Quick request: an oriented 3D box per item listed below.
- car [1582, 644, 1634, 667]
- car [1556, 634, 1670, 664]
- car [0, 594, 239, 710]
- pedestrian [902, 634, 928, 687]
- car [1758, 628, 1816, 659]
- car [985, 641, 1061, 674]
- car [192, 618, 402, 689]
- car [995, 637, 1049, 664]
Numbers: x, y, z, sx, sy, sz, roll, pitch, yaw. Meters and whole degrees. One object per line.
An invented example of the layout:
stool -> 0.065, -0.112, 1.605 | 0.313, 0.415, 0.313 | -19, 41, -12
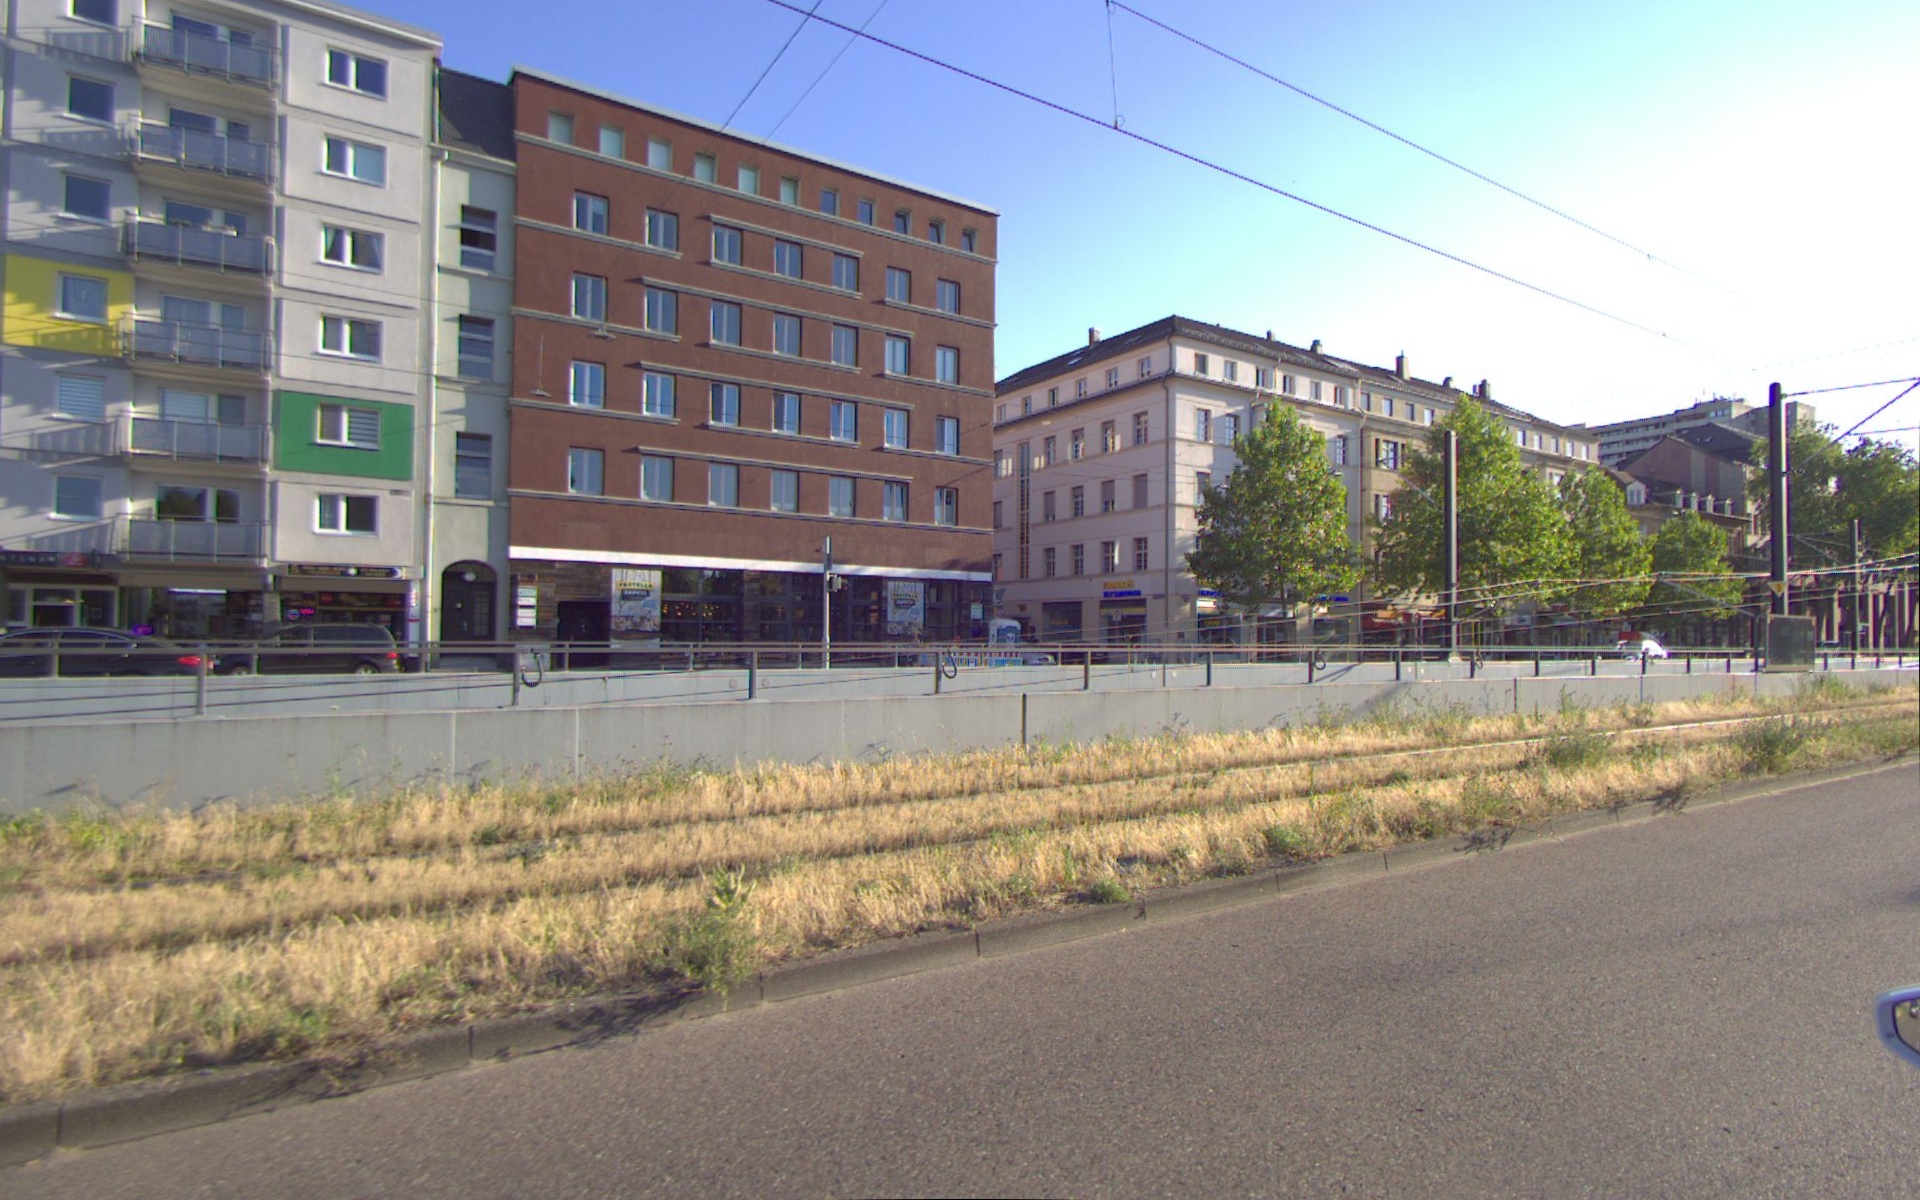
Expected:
car -> 42.125, 3.629, 65.272 | 3.669, 1.350, 1.446 | 3, -1, -32
car -> 51.469, 3.845, 79.354 | 2.448, 2.296, 7.214 | 2, -3, -37
car -> -15.149, 0.845, 16.791 | 4.840, 1.821, 1.983 | 2, -2, -32
pedestrian -> -1.768, 2.349, 39.312 | 0.764, 2.040, 0.694 | 1, -2, -32
car -> 59.460, 3.110, 72.190 | 4.524, 2.162, 1.941 | 2, -2, -33
car -> 3.024, 2.767, 48.962 | 1.876, 1.505, 3.968 | 1, -2, -30
car -> -18.262, 1.446, 27.936 | 4.690, 1.821, 1.983 | 2, -2, -32
car -> 3.671, 2.993, 59.810 | 1.531, 1.567, 3.507 | 1, -2, -30
